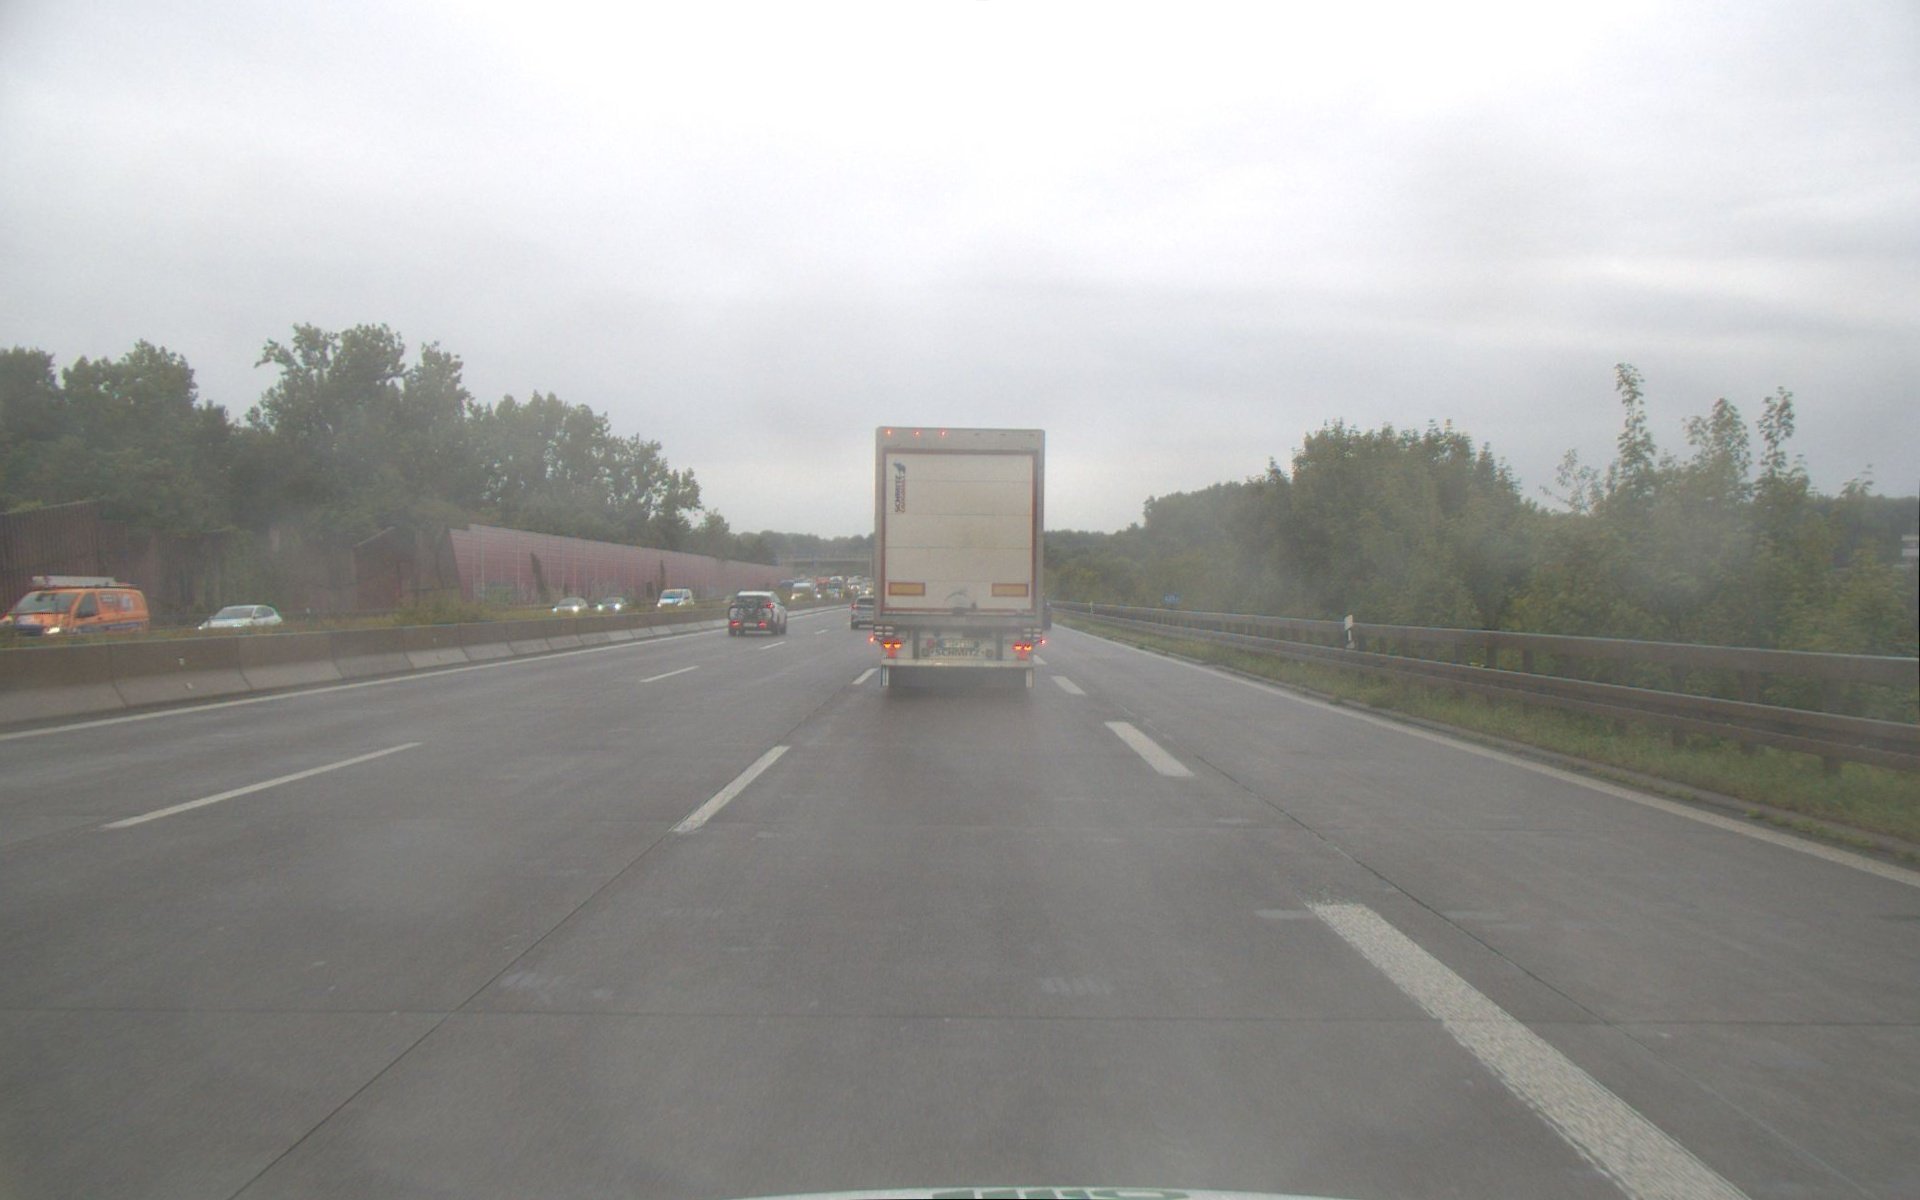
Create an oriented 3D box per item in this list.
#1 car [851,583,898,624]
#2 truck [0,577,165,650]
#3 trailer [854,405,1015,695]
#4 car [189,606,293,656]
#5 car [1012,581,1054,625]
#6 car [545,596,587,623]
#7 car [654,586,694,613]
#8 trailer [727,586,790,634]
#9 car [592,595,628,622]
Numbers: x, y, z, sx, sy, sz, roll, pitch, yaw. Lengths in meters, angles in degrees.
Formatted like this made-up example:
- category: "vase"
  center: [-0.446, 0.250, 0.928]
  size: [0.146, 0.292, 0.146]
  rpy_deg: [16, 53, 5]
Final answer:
- category: "car"
  center: [-3.796, 0.134, 73.627]
  size: [1.855, 1.753, 4.000]
  rpy_deg: [1, 0, 0]
- category: "truck"
  center: [-22.786, 0.316, 42.812]
  size: [1.952, 1.770, 5.016]
  rpy_deg: [0, 0, 0]
- category: "trailer"
  center: [-0.403, -0.761, 31.886]
  size: [2.295, 4.230, 14.825]
  rpy_deg: [1, 0, 0]
- category: "car"
  center: [-26.894, 1.146, 62.018]
  size: [1.952, 1.770, 4.397]
  rpy_deg: [0, 0, 0]
- category: "car"
  center: [3.433, 0.124, 78.265]
  size: [1.858, 1.983, 4.001]
  rpy_deg: [1, 0, 1]
- category: "car"
  center: [-27.159, 0.627, 114.061]
  size: [1.953, 1.816, 4.289]
  rpy_deg: [1, 0, -1]
- category: "car"
  center: [-20.065, -0.045, 116.144]
  size: [1.953, 1.816, 5.209]
  rpy_deg: [1, 0, -1]
- category: "trailer"
  center: [-7.404, 0.341, 61.158]
  size: [1.778, 1.653, 4.568]
  rpy_deg: [0, 1, 0]
- category: "car"
  center: [-27.510, 0.657, 130.134]
  size: [1.952, 2.049, 4.000]
  rpy_deg: [0, 0, 0]
